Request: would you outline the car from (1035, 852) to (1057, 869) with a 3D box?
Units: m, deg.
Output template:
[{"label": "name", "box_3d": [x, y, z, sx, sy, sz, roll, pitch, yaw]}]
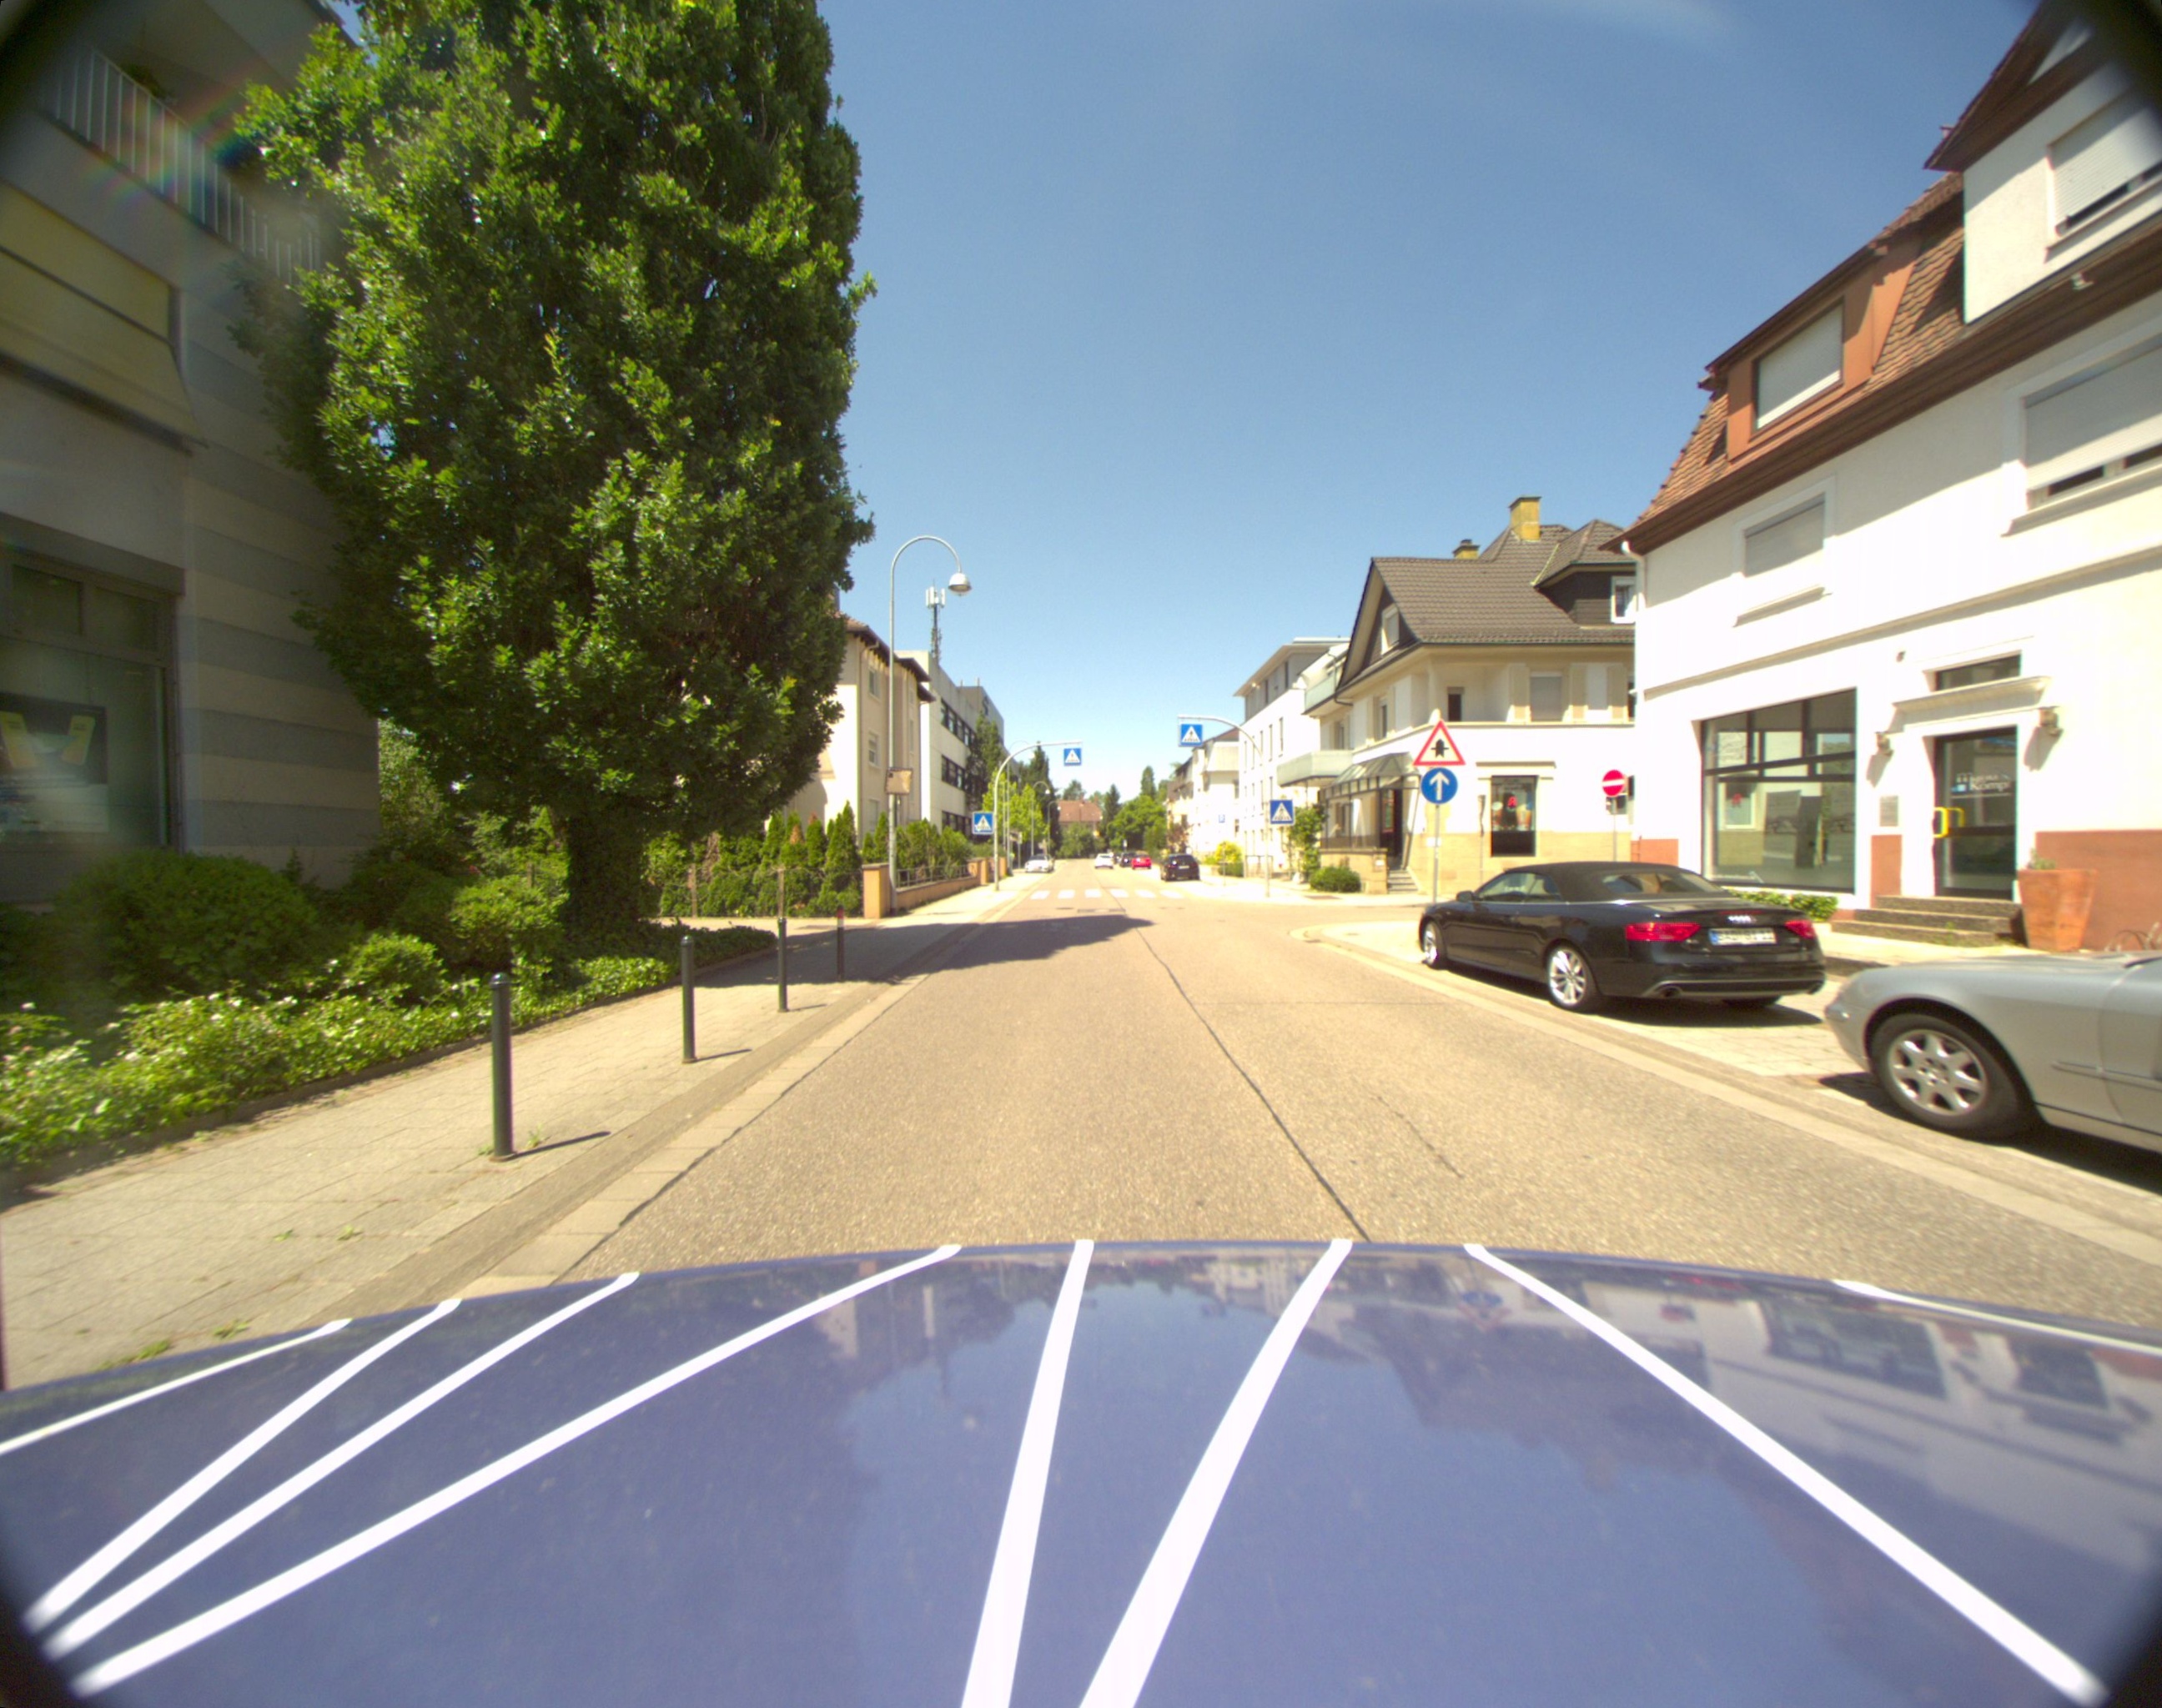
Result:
[{"label": "car", "box_3d": [-3.094, 0.540, 67.399, 1.715, 1.489, 3.877, 1, 0, 0]}]

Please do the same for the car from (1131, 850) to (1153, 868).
[{"label": "car", "box_3d": [5.560, 0.448, 69.661, 1.737, 1.444, 4.259, -3, 1, 1]}]

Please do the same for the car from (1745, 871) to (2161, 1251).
[{"label": "car", "box_3d": [5.360, 0.869, 2.335, 1.986, 1.444, 5.357, -1, 0, 1]}]

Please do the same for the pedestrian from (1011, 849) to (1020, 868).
[{"label": "pedestrian", "box_3d": [-5.968, 0.375, 69.635, 0.680, 1.690, 1.050, 1, 1, 0]}]

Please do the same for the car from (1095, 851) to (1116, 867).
[{"label": "car", "box_3d": [2.377, 0.459, 75.239, 1.812, 1.473, 3.868, 1, 1, -2]}]

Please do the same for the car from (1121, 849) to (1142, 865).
[{"label": "car", "box_3d": [5.331, 0.305, 80.955, 1.925, 1.577, 4.435, -3, 1, 1]}]

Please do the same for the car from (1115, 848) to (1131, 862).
[{"label": "car", "box_3d": [5.563, 0.136, 100.861, 1.925, 1.681, 4.287, -3, 1, 2]}]

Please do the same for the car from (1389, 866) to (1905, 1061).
[{"label": "car", "box_3d": [5.400, 0.889, 8.404, 1.947, 1.365, 5.097, -1, 0, 1]}]

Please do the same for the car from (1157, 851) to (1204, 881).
[{"label": "car", "box_3d": [5.439, 0.609, 42.136, 1.921, 1.444, 5.148, -3, 0, 1]}]

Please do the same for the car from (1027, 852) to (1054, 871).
[{"label": "car", "box_3d": [-3.285, 0.611, 62.192, 1.920, 1.460, 4.879, 1, 0, 0]}]
